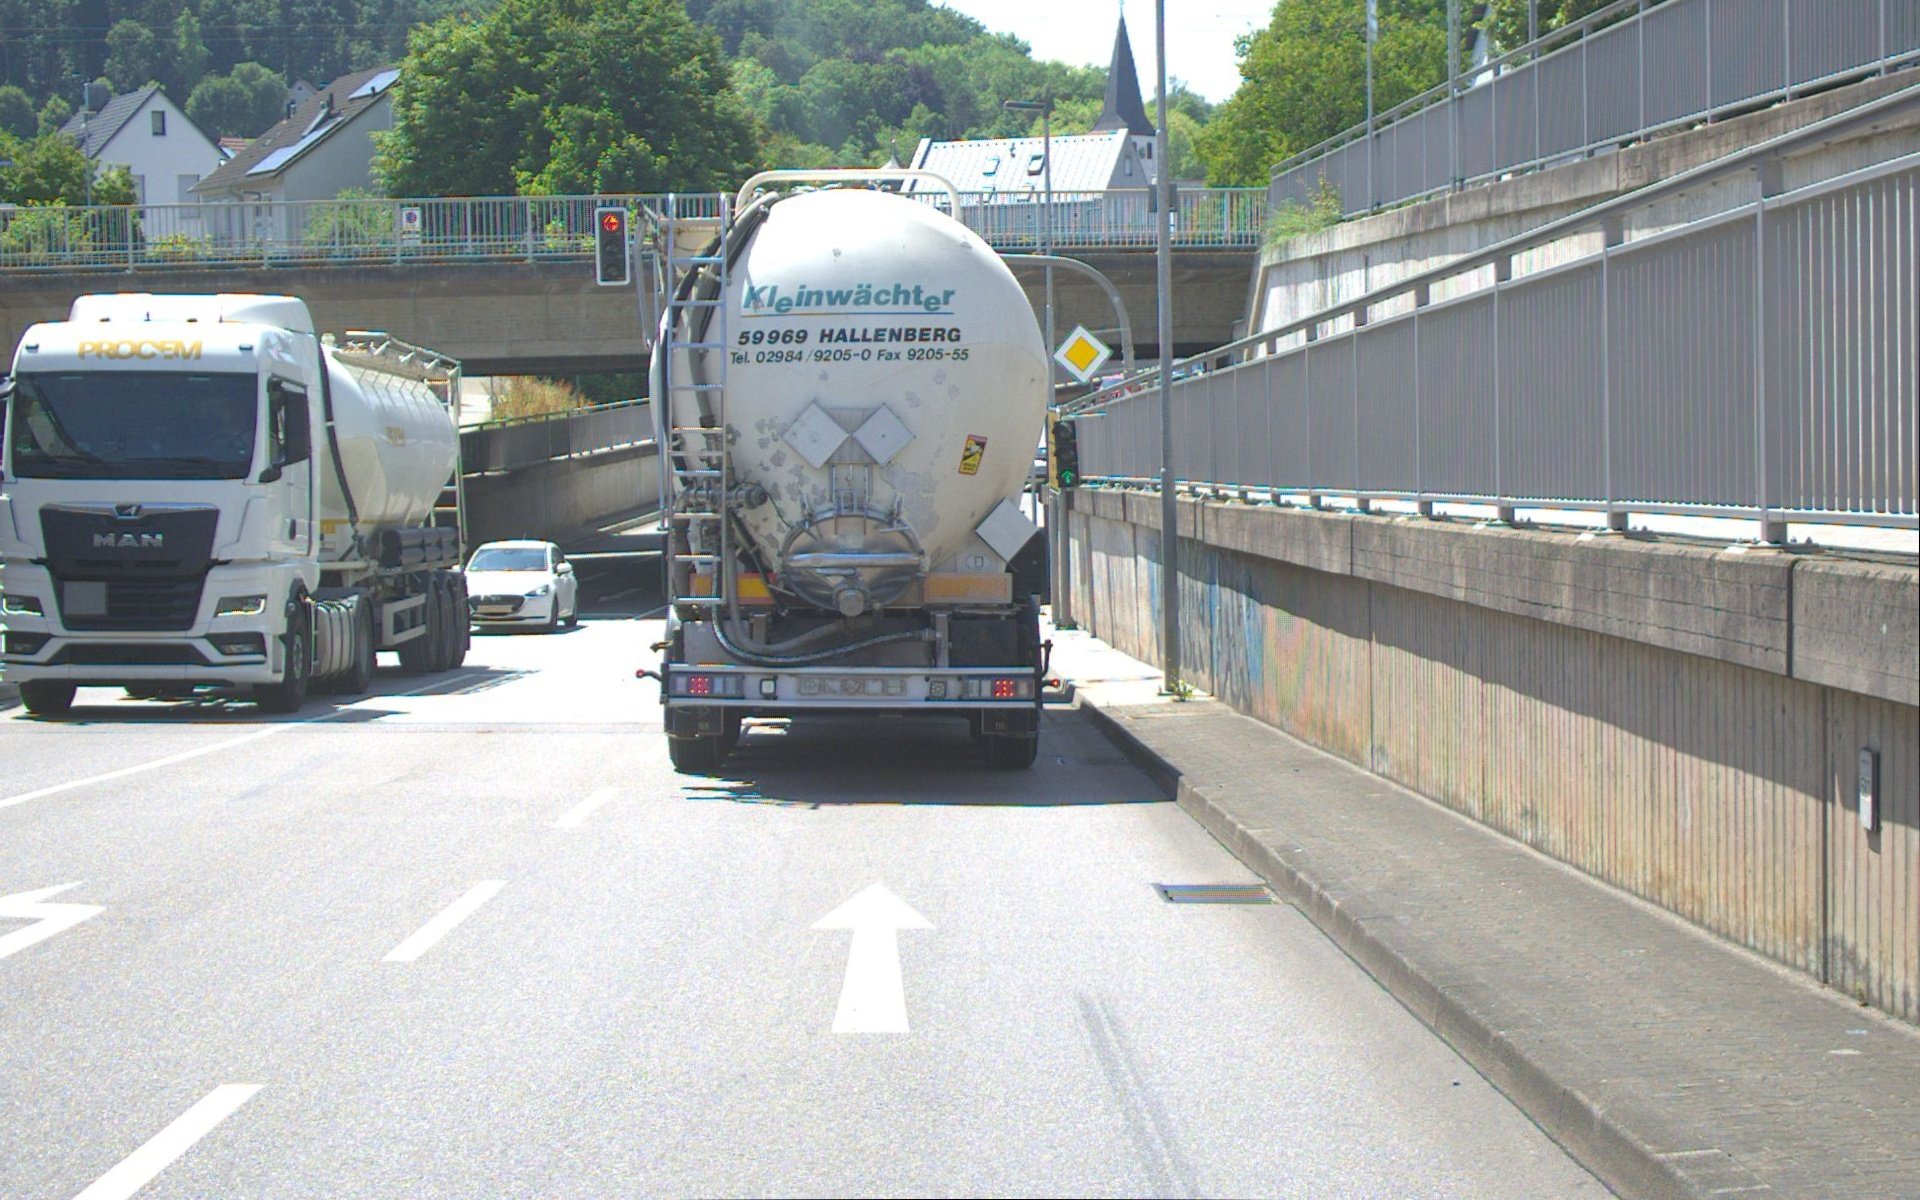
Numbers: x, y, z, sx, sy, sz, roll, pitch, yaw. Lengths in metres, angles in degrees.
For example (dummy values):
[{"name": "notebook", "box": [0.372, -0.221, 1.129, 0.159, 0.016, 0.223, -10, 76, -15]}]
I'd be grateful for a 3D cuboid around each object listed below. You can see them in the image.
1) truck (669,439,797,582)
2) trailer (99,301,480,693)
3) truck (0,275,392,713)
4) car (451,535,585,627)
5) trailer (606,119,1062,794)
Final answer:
[{"name": "truck", "box": [-6.032, -2.377, 92.196, 2.689, 3.651, 7.369, 1, 1, 2]}, {"name": "trailer", "box": [-7.425, -1.105, 39.404, 2.610, 3.950, 9.347, 0, 1, 0]}, {"name": "truck", "box": [-7.396, -0.974, 33.535, 2.662, 3.847, 6.580, 0, 1, 0]}, {"name": "car", "box": [-7.301, -0.343, 57.077, 1.682, 1.435, 4.094, 1, 1, 0]}, {"name": "trailer", "box": [-0.771, -0.955, 27.295, 2.735, 4.050, 13.313, 0, 1, 0]}]
